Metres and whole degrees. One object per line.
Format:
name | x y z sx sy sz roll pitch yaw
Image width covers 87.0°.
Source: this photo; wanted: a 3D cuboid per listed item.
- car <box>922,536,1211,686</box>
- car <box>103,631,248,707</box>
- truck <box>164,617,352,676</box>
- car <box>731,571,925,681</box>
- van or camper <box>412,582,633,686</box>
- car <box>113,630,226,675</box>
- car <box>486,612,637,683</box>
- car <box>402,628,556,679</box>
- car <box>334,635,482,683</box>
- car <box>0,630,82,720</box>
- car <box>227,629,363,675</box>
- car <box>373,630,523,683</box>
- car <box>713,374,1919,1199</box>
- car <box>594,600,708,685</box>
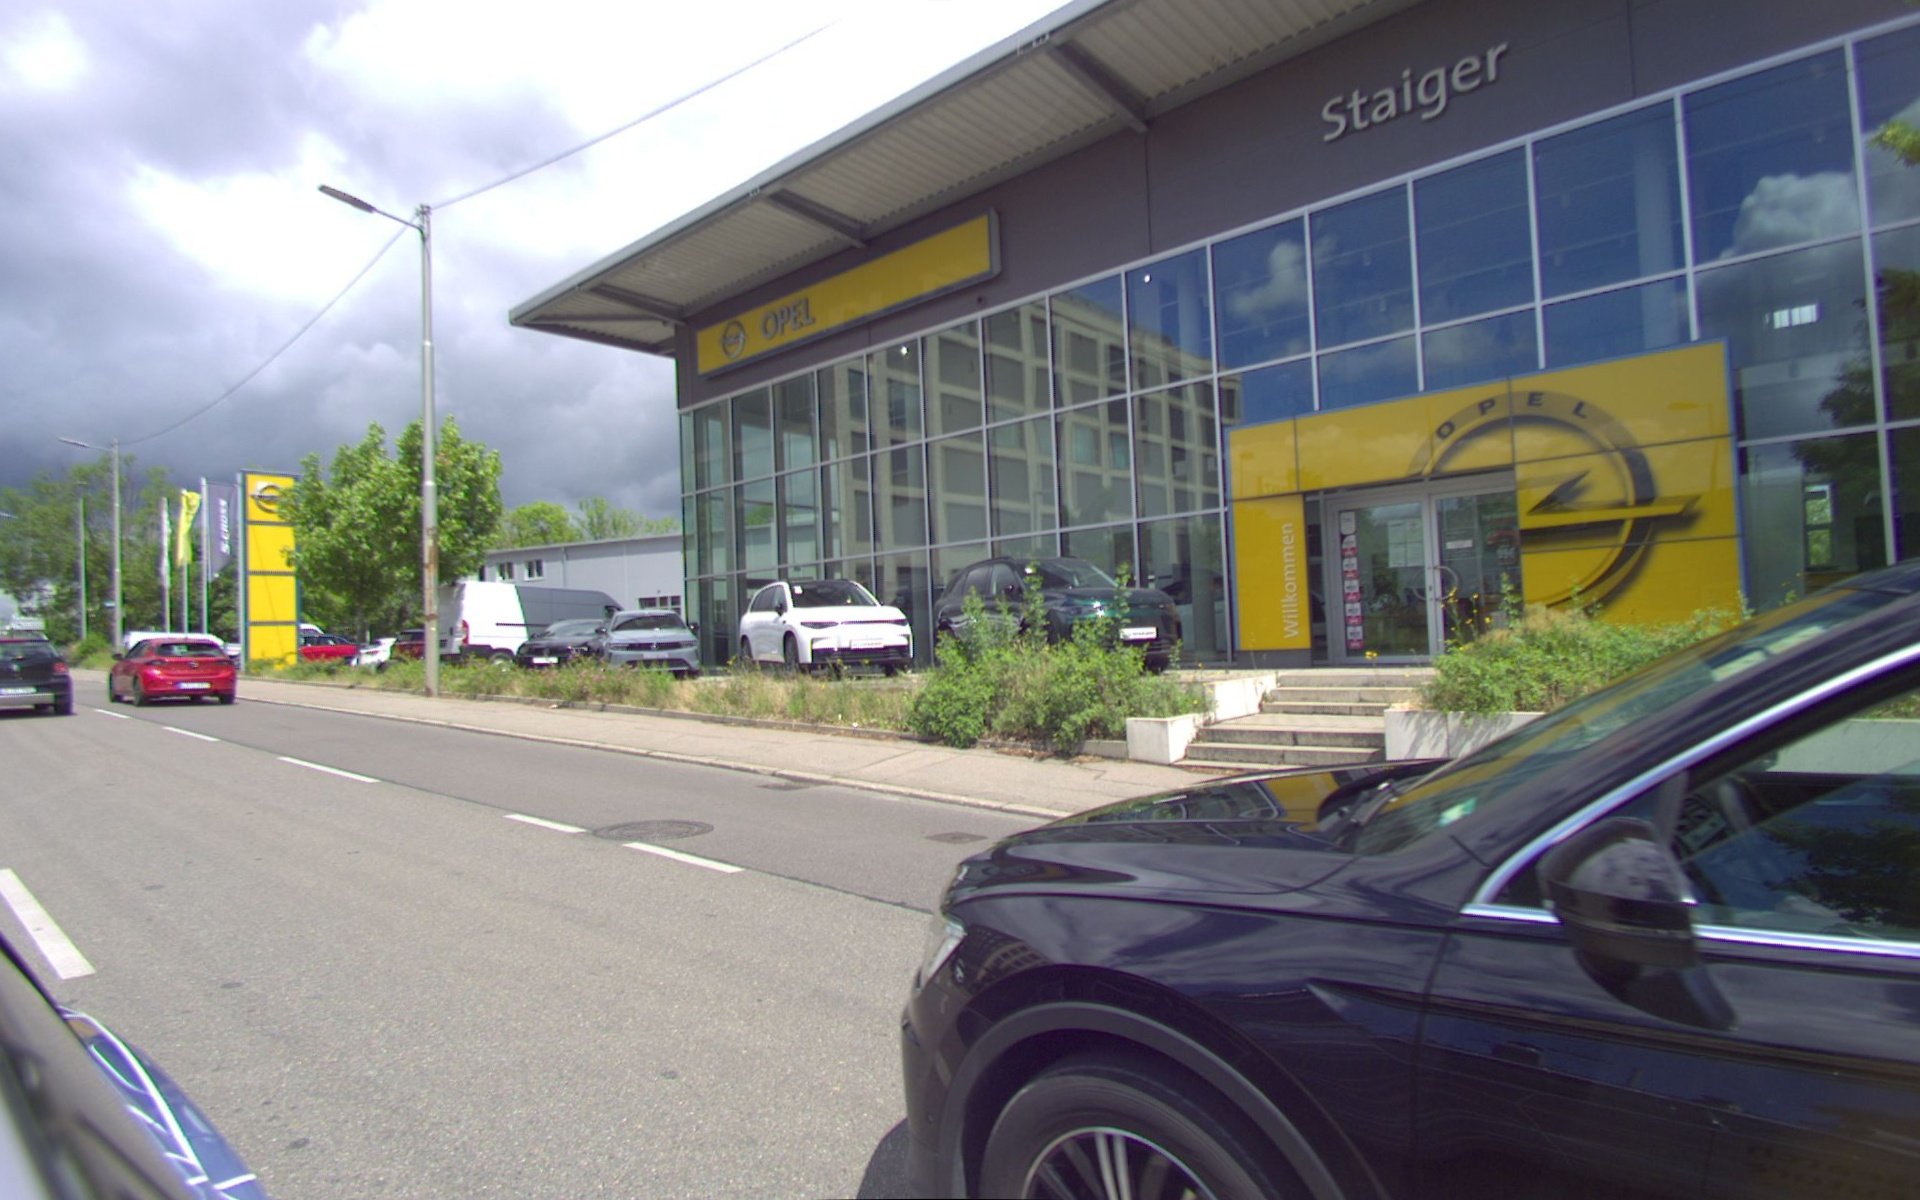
car | 1.230 0.237 14.020 1.965 1.711 4.499 -2 -3 -23
car | -17.196 1.486 22.133 3.848 1.503 1.850 -3 -5 43
truck | -28.186 1.822 40.837 2.473 2.164 5.804 -2 -2 38
car | -2.390 0.450 17.050 1.903 1.585 4.568 0 -2 -25
van or camper | -11.828 0.898 27.626 2.316 2.550 4.975 -5 -3 40
car | -39.889 2.636 51.115 2.196 2.029 4.119 -5 -3 39
car | -9.356 1.101 24.181 1.916 1.520 4.476 -1 -2 -1
car | -15.045 1.643 31.818 1.927 1.420 3.946 -2 -2 40
car | -18.645 1.935 34.296 1.998 1.420 3.947 -2 -1 40
car | -17.978 1.361 18.847 4.273 1.520 1.811 -2 -3 40
car | -25.063 2.000 38.238 1.753 1.601 3.944 -5 -6 42
car | -16.689 1.813 33.079 2.000 1.503 3.942 -5 -3 44
car | 1.586 0.548 1.696 4.104 1.552 1.845 -2 -1 41
car | -6.433 0.903 20.701 1.868 1.462 4.847 -2 -3 -21
